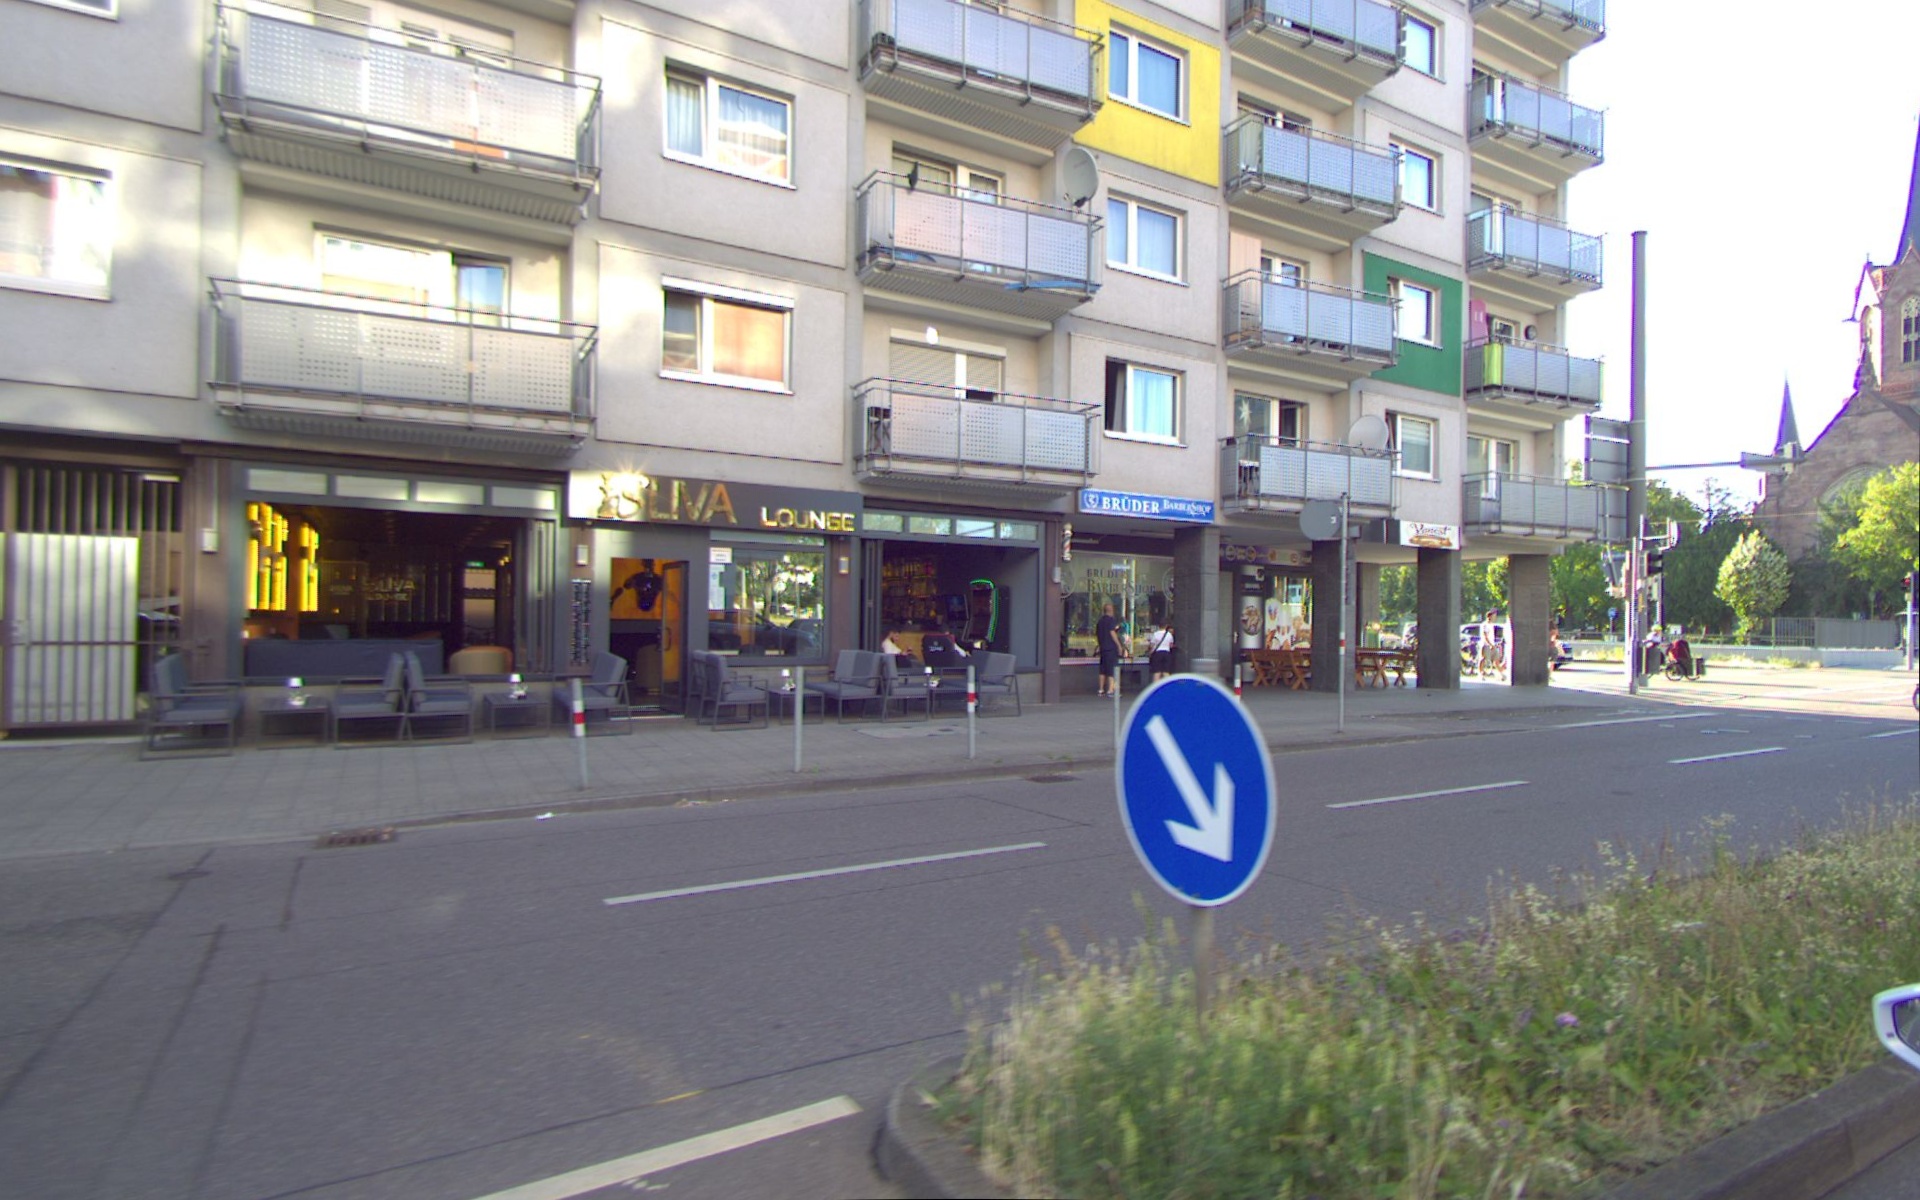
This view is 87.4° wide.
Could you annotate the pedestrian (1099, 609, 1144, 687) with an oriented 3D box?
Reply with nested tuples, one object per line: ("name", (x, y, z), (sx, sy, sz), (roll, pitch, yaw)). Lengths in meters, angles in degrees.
("pedestrian", (3.382, 0.999, 21.037), (0.780, 1.599, 0.557), (1, -1, -36))

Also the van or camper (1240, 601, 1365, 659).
("van or camper", (15.427, 1.326, 45.595), (2.138, 2.448, 5.399), (1, -1, -28))

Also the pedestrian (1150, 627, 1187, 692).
("pedestrian", (4.140, 1.171, 19.995), (0.522, 1.256, 0.556), (1, -1, -15))

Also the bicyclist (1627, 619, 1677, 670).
("bicyclist", (20.912, 1.340, 30.352), (1.148, 1.506, 0.875), (1, -1, -32))

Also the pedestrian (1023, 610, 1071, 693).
("pedestrian", (1.722, 1.009, 19.905), (0.778, 1.599, 0.559), (1, -1, -30))

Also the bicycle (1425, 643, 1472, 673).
("bicycle", (15.211, 1.796, 31.273), (1.684, 0.919, 0.493), (1, -1, -31))

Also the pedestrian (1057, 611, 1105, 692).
("pedestrian", (2.450, 1.032, 20.374), (0.778, 1.599, 0.559), (1, -1, -30))

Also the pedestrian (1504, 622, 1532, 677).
("pedestrian", (16.009, 1.408, 28.810), (0.570, 1.551, 0.466), (1, -1, -31))

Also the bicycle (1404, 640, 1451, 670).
("bicycle", (14.794, 1.729, 31.749), (1.684, 0.919, 0.493), (1, -1, -31))

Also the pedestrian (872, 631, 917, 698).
("pedestrian", (-1.103, 1.081, 16.953), (0.544, 1.094, 0.521), (0, -1, 38))

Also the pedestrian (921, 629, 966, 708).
("pedestrian", (-0.257, 1.085, 16.065), (0.513, 1.219, 0.552), (0, -1, 28))

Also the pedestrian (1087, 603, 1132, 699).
("pedestrian", (2.747, 0.925, 18.456), (0.764, 1.723, 0.561), (0, -1, 14))

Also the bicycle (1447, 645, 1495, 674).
("bicycle", (15.569, 1.800, 30.579), (1.684, 0.851, 0.493), (1, -1, -31))

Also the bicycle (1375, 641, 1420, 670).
("bicycle", (14.237, 1.791, 32.677), (1.684, 0.919, 0.493), (1, -1, -31))

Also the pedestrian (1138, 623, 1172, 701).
("pedestrian", (3.552, 1.121, 18.312), (0.472, 1.402, 0.484), (1, -1, -10))

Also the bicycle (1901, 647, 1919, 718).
("bicycle", (16.933, 1.402, 16.649), (0.725, 1.204, 1.818), (1, -1, -30))

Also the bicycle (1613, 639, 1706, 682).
("bicycle", (20.985, 1.785, 30.183), (1.148, 1.183, 2.032), (1, -1, -31))

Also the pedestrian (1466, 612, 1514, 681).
("pedestrian", (14.040, 1.227, 26.611), (0.664, 1.781, 0.921), (1, -1, -21))

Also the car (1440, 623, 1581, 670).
("car", (20.404, 1.686, 37.424), (1.813, 1.594, 4.385), (1, -1, -28))

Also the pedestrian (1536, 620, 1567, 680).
("pedestrian", (16.376, 1.375, 27.804), (0.566, 1.663, 0.469), (1, -1, -10))
